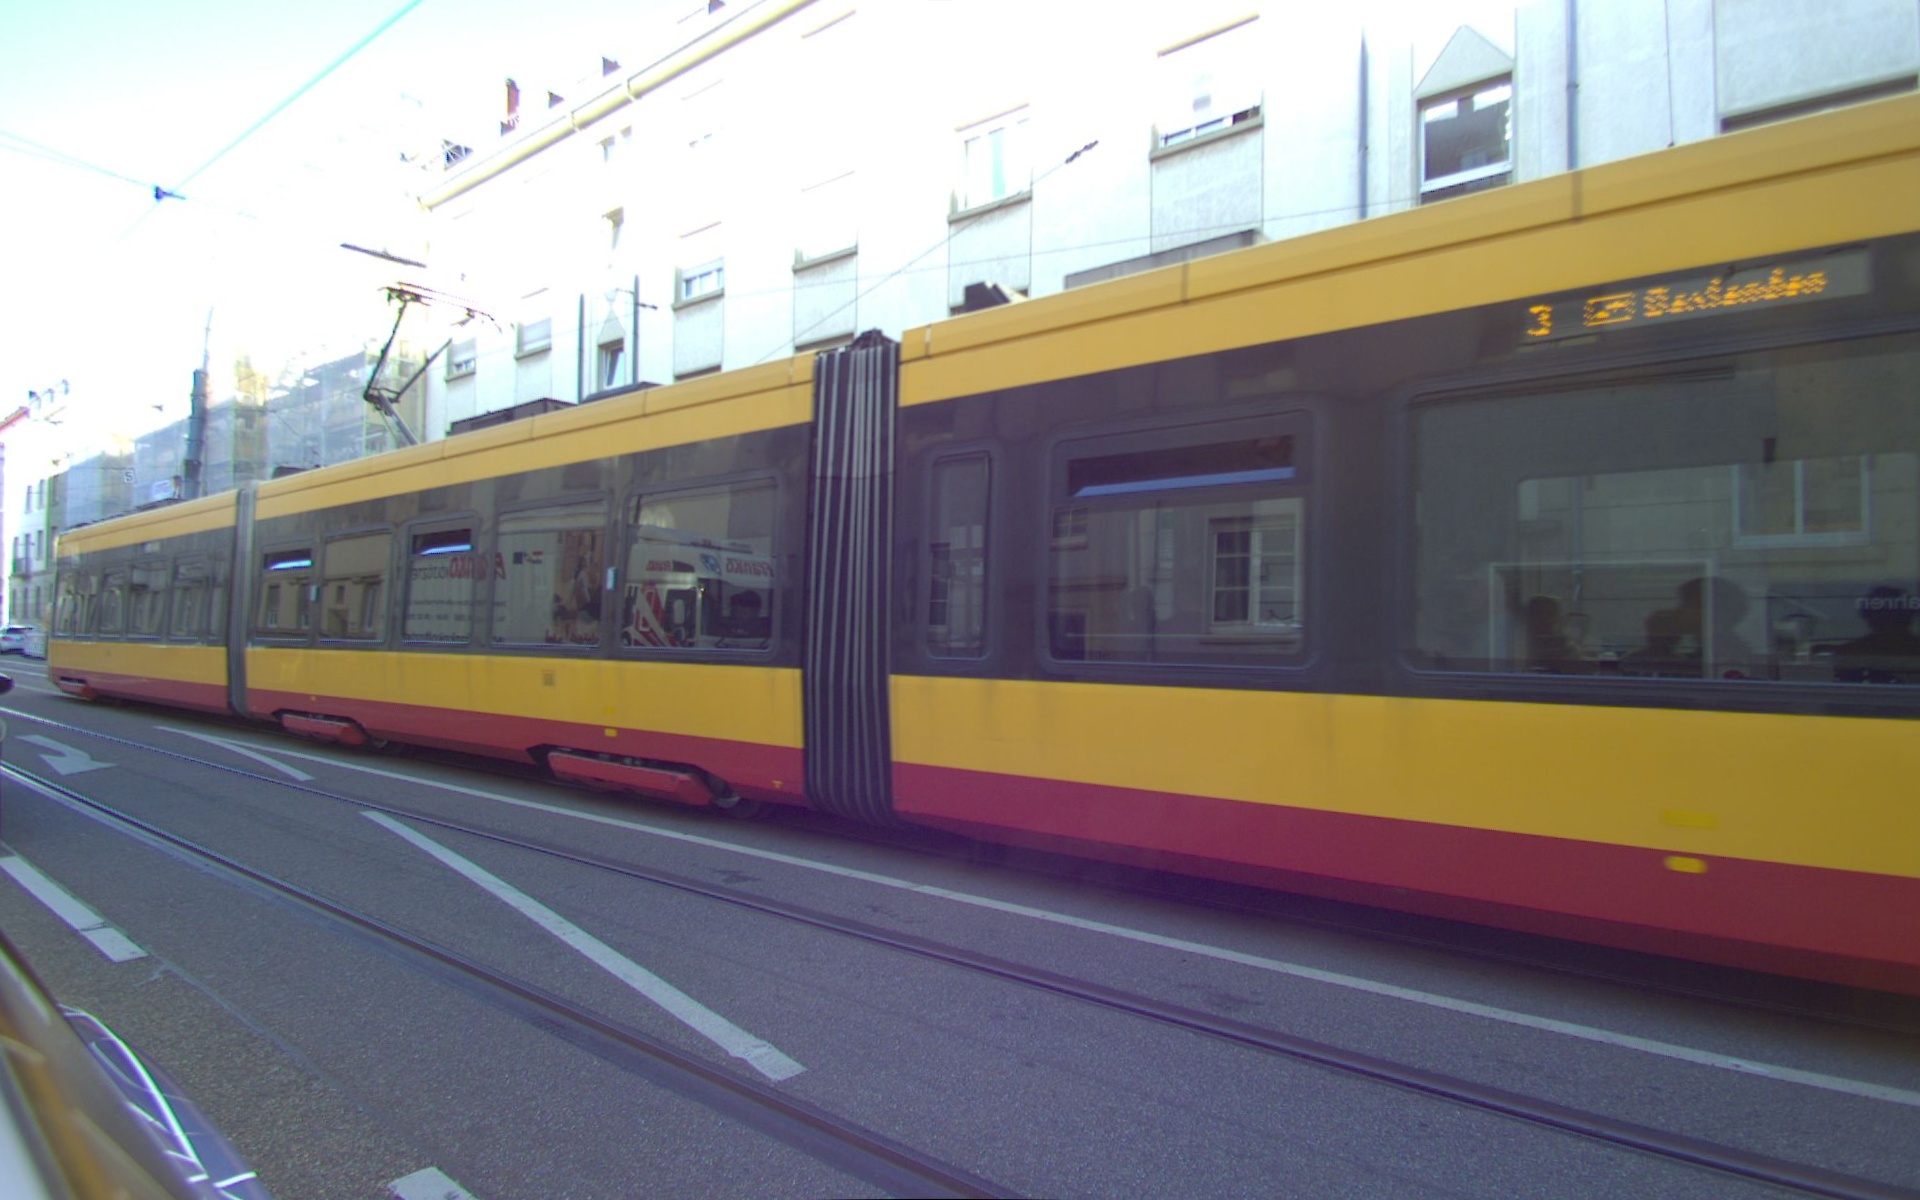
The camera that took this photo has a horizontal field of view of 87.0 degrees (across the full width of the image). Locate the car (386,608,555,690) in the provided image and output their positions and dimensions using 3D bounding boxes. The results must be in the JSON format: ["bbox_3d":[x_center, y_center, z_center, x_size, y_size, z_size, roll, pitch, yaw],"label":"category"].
[{"bbox_3d":[-10.742,1.001,22.099,4.108,1.603,1.691,-1,0,38],"label":"car"}]

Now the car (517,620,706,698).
[{"bbox_3d":[-6.638,1.049,19.170,3.483,1.286,1.730,-1,0,37],"label":"car"}]

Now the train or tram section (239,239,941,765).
[{"bbox_3d":[-4.606,-0.634,10.962,9.072,3.658,2.798,-1,0,38],"label":"train or tram section"}]

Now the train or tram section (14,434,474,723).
[{"bbox_3d":[-13.164,-0.131,17.763,12.613,3.621,3.032,-1,-3,38],"label":"train or tram section"}]

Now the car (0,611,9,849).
[{"bbox_3d":[-8.023,0.844,6.976,3.997,1.515,1.670,-2,-3,40],"label":"car"}]

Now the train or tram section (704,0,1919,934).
[{"bbox_3d":[4.703,-0.793,3.621,14.244,3.659,2.719,-1,0,38],"label":"train or tram section"}]

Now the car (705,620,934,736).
[{"bbox_3d":[-2.279,1.140,16.071,3.493,1.584,1.650,-1,0,38],"label":"car"}]
